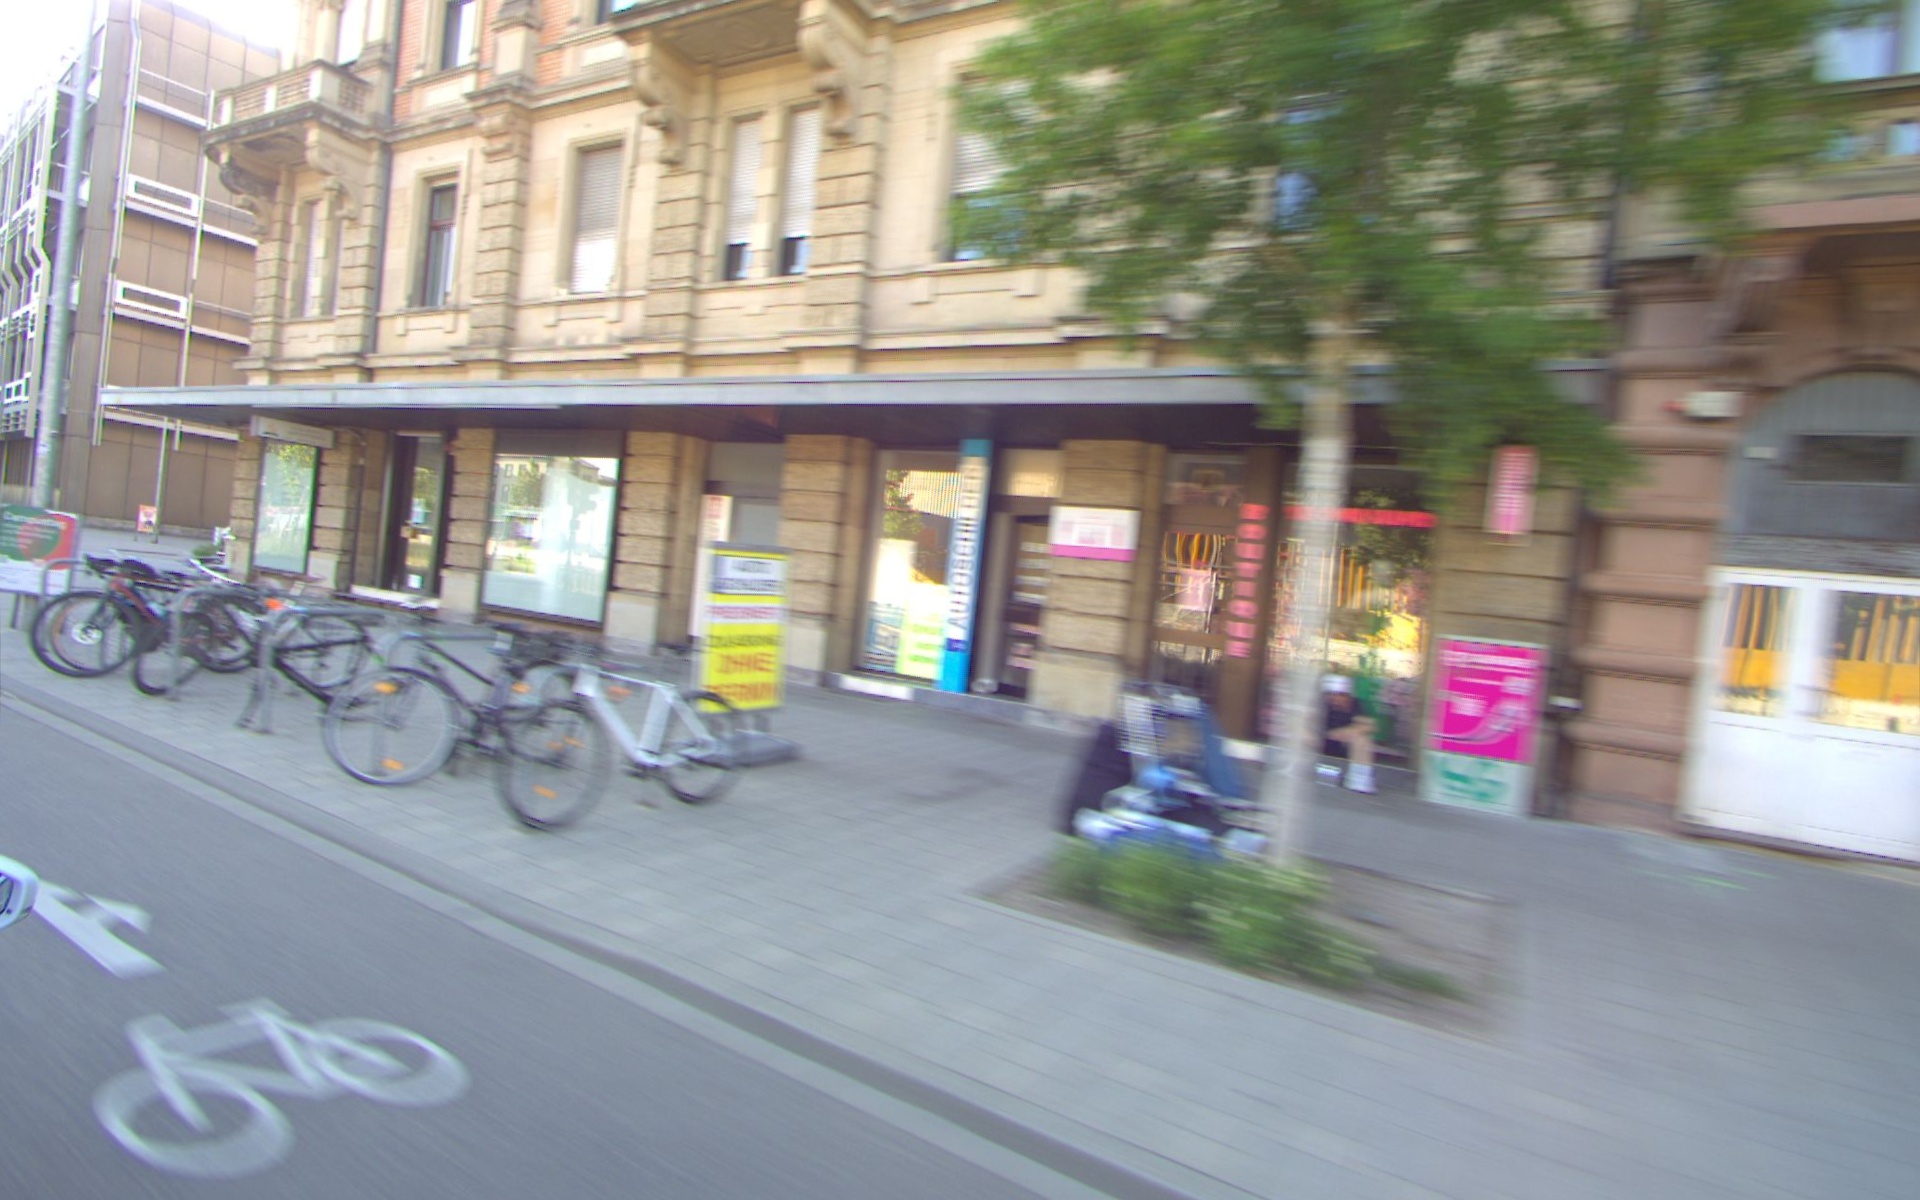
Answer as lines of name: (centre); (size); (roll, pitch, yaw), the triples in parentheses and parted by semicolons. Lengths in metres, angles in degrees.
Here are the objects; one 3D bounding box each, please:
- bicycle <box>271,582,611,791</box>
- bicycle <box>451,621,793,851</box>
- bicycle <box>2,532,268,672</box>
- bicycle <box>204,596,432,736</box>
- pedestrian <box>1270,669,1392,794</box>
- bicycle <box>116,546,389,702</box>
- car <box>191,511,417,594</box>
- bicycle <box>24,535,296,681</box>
bicycle: (-3.251, 0.510, 6.477); (0.557, 1.119, 1.842); (7, 3, 36)
bicycle: (-1.841, 0.690, 5.746); (0.557, 1.061, 1.803); (7, 3, 36)
bicycle: (-7.364, 0.037, 9.066); (0.499, 1.119, 1.752); (7, 3, 36)
bicycle: (-4.637, 0.461, 7.322); (0.499, 0.888, 1.273); (7, 3, 36)
pedestrian: (3.389, 1.164, 9.168); (0.791, 0.975, 0.814); (7, 1, 32)
bicycle: (-5.722, 0.200, 8.236); (0.499, 1.119, 1.720); (7, 3, 36)
car: (-16.031, -1.114, 24.851); (1.830, 1.467, 4.272); (6, -1, 25)
bicycle: (-6.880, 0.083, 8.745); (0.499, 1.119, 1.752); (7, 3, 36)
